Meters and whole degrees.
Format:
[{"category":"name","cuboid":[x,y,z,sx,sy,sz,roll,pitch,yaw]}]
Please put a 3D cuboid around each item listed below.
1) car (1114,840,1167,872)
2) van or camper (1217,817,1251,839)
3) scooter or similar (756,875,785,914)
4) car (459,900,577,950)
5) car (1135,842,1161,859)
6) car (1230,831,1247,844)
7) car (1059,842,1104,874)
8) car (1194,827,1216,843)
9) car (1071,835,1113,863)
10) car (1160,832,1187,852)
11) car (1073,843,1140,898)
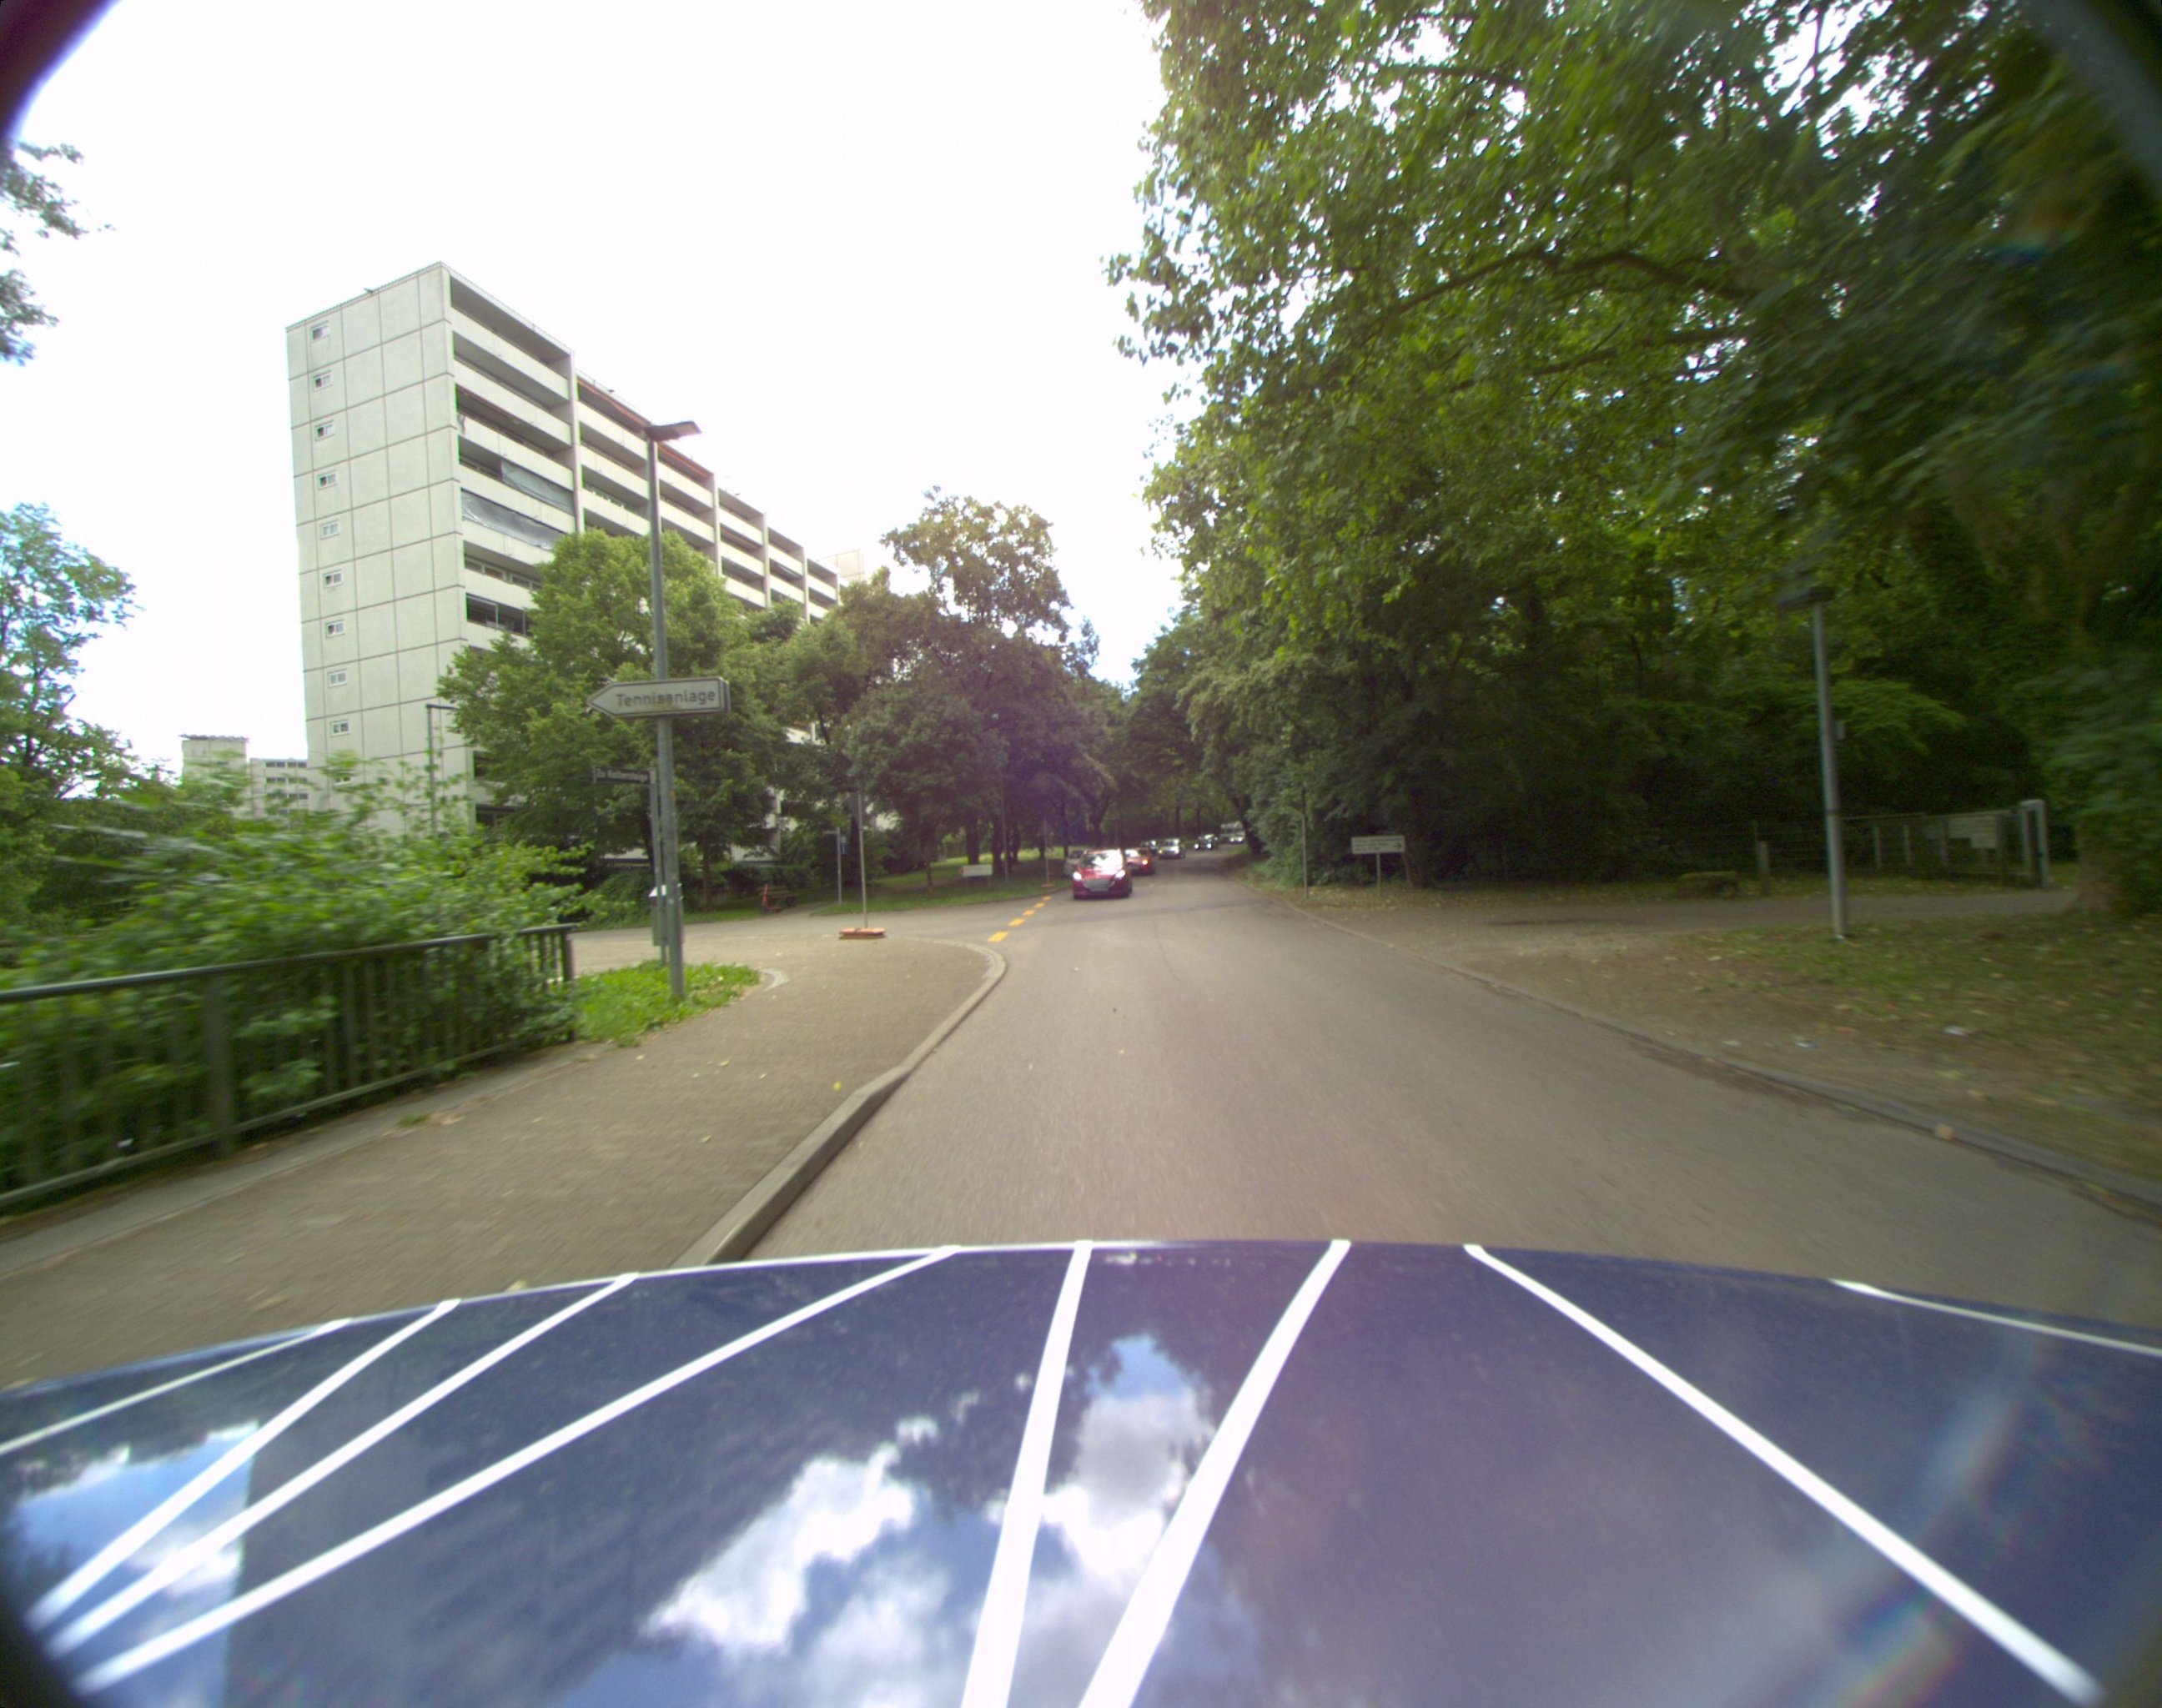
[{"category":"car","cuboid":[3.259,0.058,40.977,1.956,1.464,4.681,-3,1,15]},{"category":"van or camper","cuboid":[21.960,-3.779,108.692,2.426,2.963,7.404,-3,1,29]},{"category":"scooter or similar","cuboid":[-10.961,1.404,26.843,0.283,1.279,1.109,-3,1,11]},{"category":"car","cuboid":[-20.959,2.646,28.321,3.521,1.561,1.834,-4,1,21]},{"category":"car","cuboid":[6.232,-0.334,70.226,1.684,1.456,3.901,-3,1,15]},{"category":"car","cuboid":[20.387,-2.198,98.263,1.766,1.559,4.049,-3,1,16]},{"category":"car","cuboid":[0.088,0.202,40.802,1.777,1.514,3.782,-3,1,9]},{"category":"car","cuboid":[13.221,-2.009,80.973,1.766,1.559,4.049,-3,1,16]},{"category":"car","cuboid":[0.736,-0.325,45.872,1.777,1.514,4.185,-3,1,11]},{"category":"car","cuboid":[7.732,-1.016,63.138,1.653,1.559,4.049,-3,1,14]},{"category":"car","cuboid":[0.815,0.473,25.871,2.003,1.599,4.676,-3,1,1]}]
